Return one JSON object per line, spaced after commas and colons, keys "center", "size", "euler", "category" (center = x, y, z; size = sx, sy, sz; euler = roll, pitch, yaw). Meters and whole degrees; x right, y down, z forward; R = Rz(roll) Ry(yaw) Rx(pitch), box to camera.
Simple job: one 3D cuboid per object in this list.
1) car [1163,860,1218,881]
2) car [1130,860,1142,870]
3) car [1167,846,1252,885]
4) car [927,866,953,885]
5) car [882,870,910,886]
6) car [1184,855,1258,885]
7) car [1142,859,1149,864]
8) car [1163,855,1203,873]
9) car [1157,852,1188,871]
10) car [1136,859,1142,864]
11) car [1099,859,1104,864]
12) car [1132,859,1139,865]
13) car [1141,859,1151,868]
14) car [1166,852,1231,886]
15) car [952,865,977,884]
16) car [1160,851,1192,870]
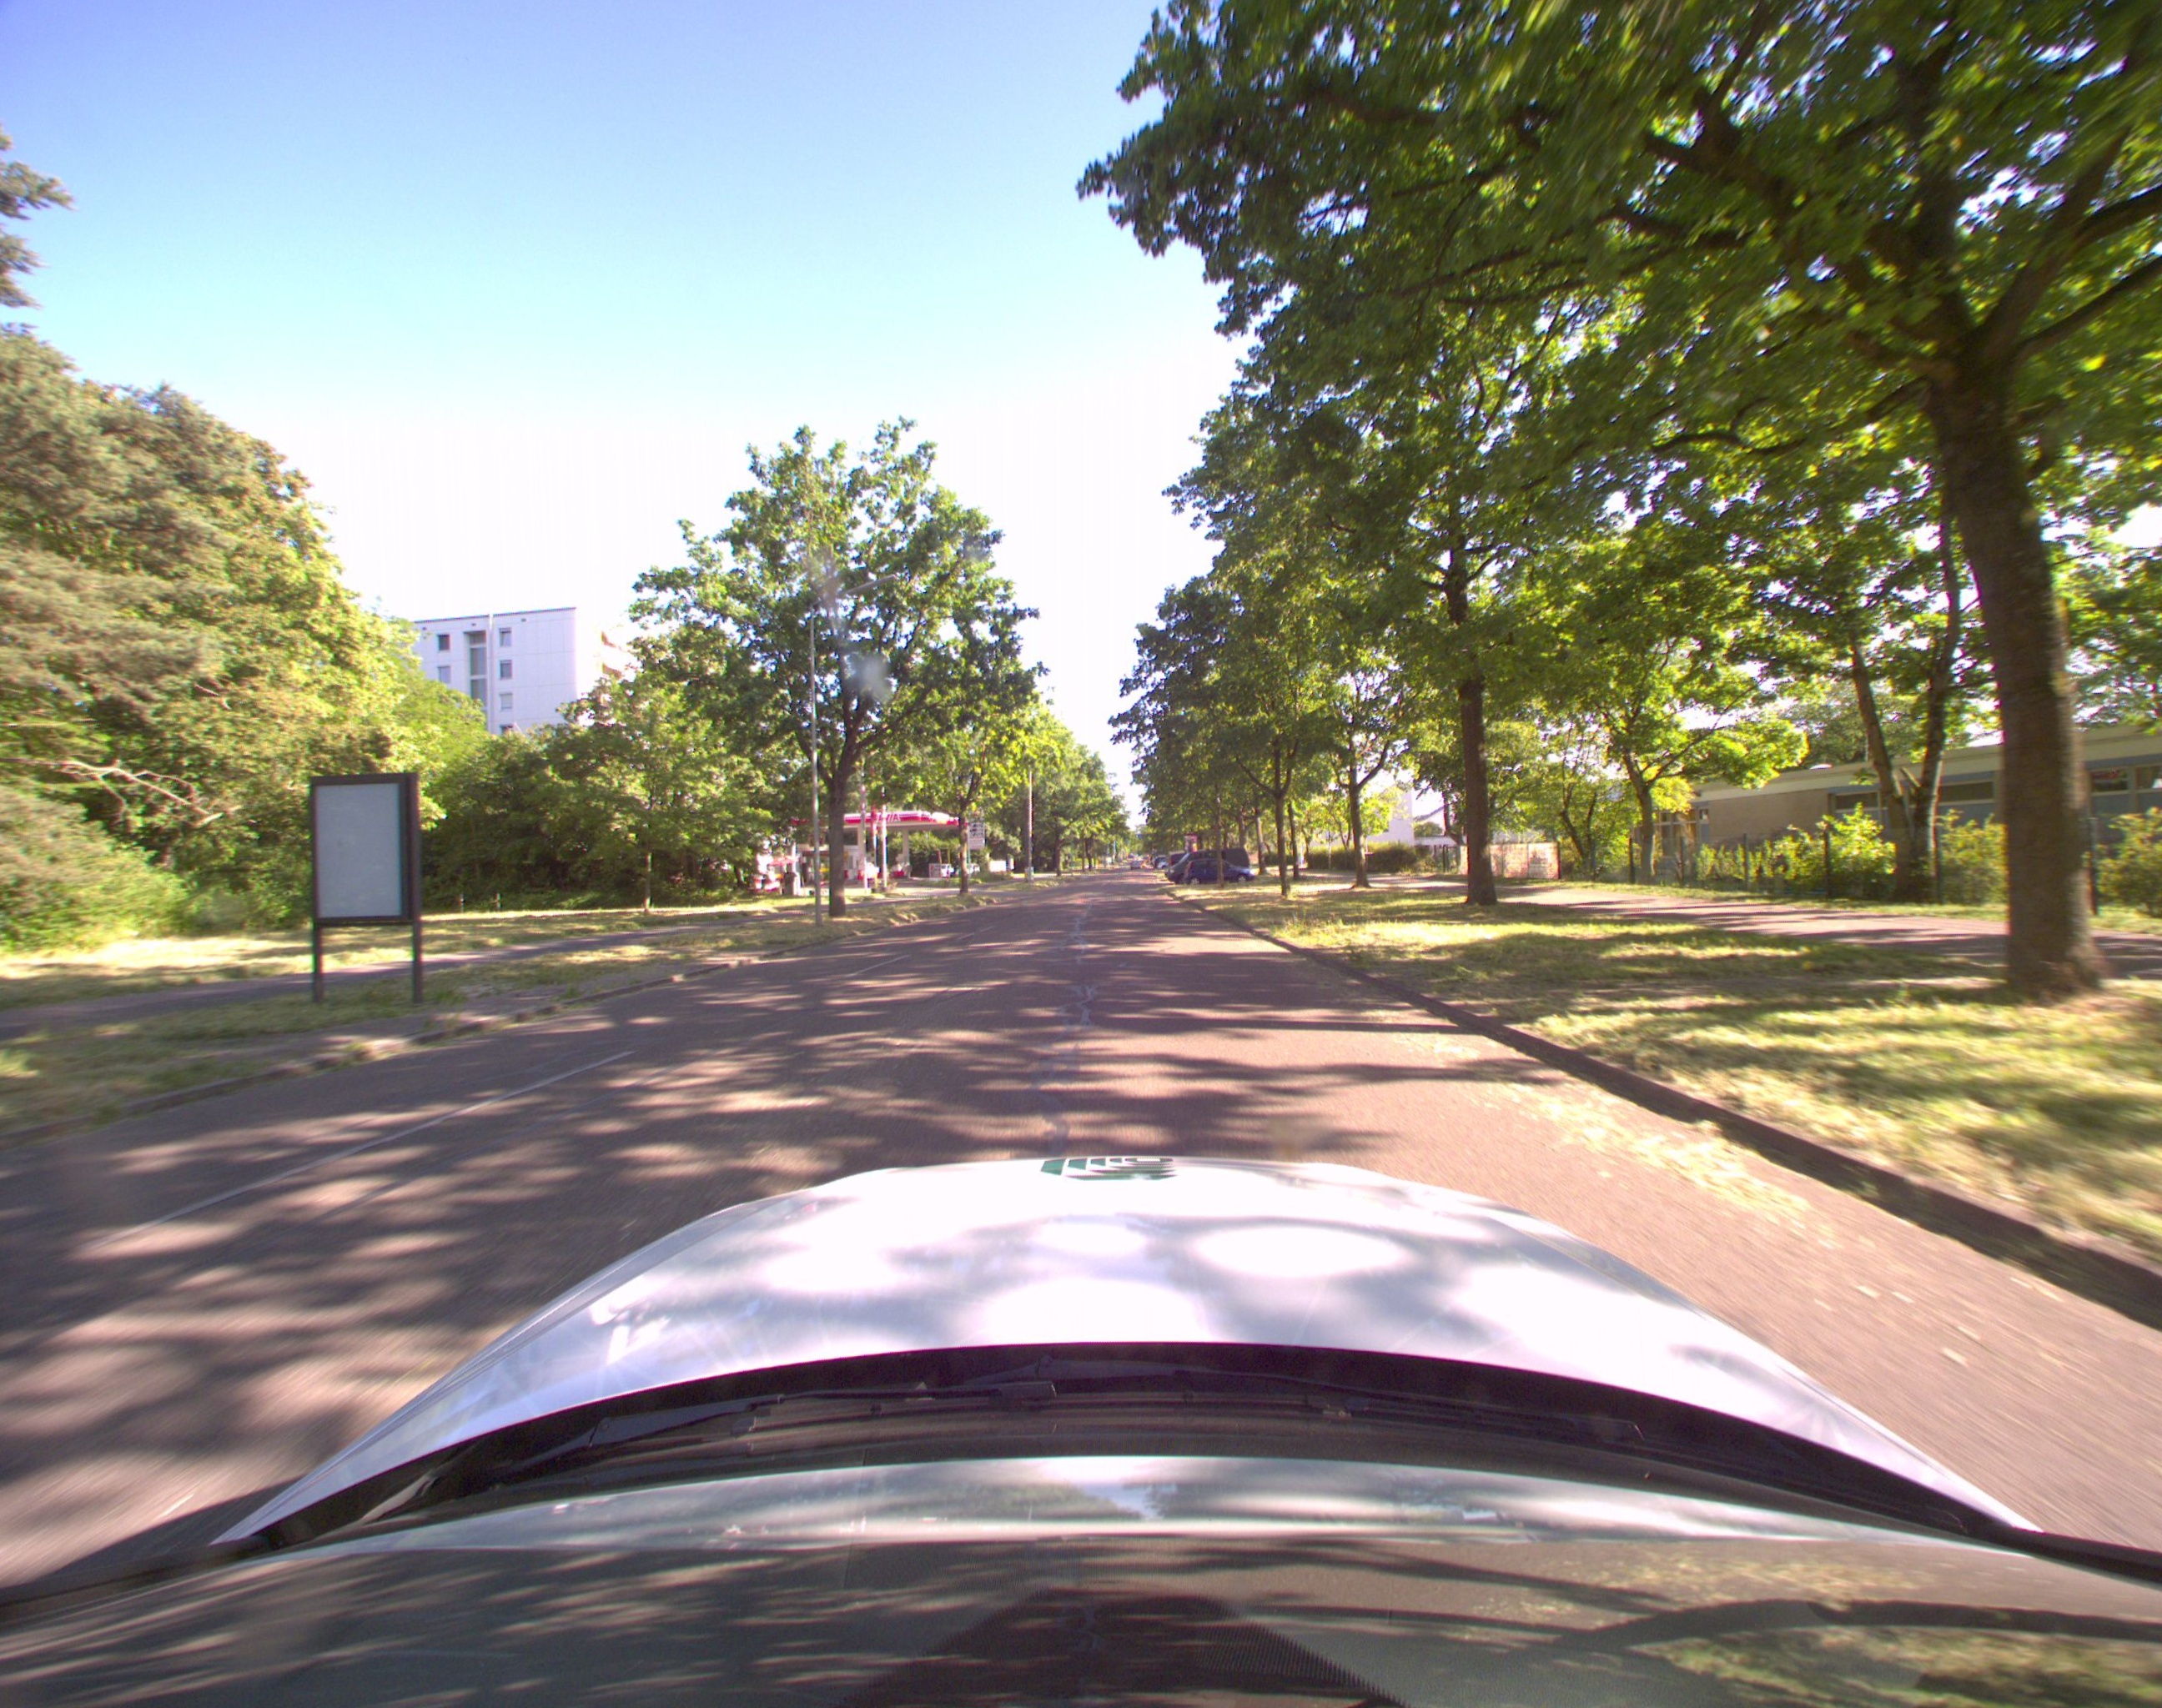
{"center": [7.518, 1.150, 56.255], "size": [3.638, 1.330, 1.318], "euler": [-3, -2, 3], "category": "car"}
{"center": [8.270, 1.613, 122.545], "size": [1.654, 1.337, 3.667], "euler": [-3, -2, 3], "category": "car"}
{"center": [7.160, 0.640, 45.753], "size": [4.484, 1.953, 1.689], "euler": [-3, -2, 3], "category": "car"}
{"center": [-14.322, 2.210, 82.840], "size": [1.794, 1.823, 3.806], "euler": [-2, -2, 2], "category": "car"}
{"center": [-19.255, 2.491, 84.890], "size": [1.794, 1.621, 3.807], "euler": [-3, -2, 2], "category": "car"}
{"center": [7.313, 0.828, 42.753], "size": [3.638, 1.398, 1.318], "euler": [-3, -2, 3], "category": "car"}
{"center": [18.864, 2.259, 238.770], "size": [1.729, 1.337, 3.667], "euler": [-3, -2, 3], "category": "car"}
{"center": [9.519, 0.933, 76.279], "size": [3.638, 1.563, 1.318], "euler": [-3, -2, 3], "category": "car"}
{"center": [10.973, 0.883, 98.208], "size": [3.552, 2.051, 1.576], "euler": [-3, -2, 3], "category": "car"}
{"center": [16.066, 2.124, 224.677], "size": [1.654, 1.337, 3.667], "euler": [-3, -2, 3], "category": "car"}
{"center": [6.447, 2.218, 254.303], "size": [1.639, 1.426, 4.001], "euler": [-2, -2, 2], "category": "car"}
{"center": [13.615, 1.978, 202.483], "size": [1.654, 1.337, 3.667], "euler": [-3, -2, 3], "category": "car"}
{"center": [11.333, 1.643, 142.005], "size": [1.654, 1.337, 3.667], "euler": [-3, -2, 3], "category": "car"}
{"center": [6.916, 0.902, 48.254], "size": [3.638, 1.797, 1.318], "euler": [-3, -2, 3], "category": "car"}
{"center": [-11.834, 2.098, 82.714], "size": [1.794, 1.823, 3.806], "euler": [-2, -2, 2], "category": "car"}
{"center": [11.144, 0.727, 95.461], "size": [3.552, 2.051, 1.634], "euler": [-3, -2, 3], "category": "car"}
